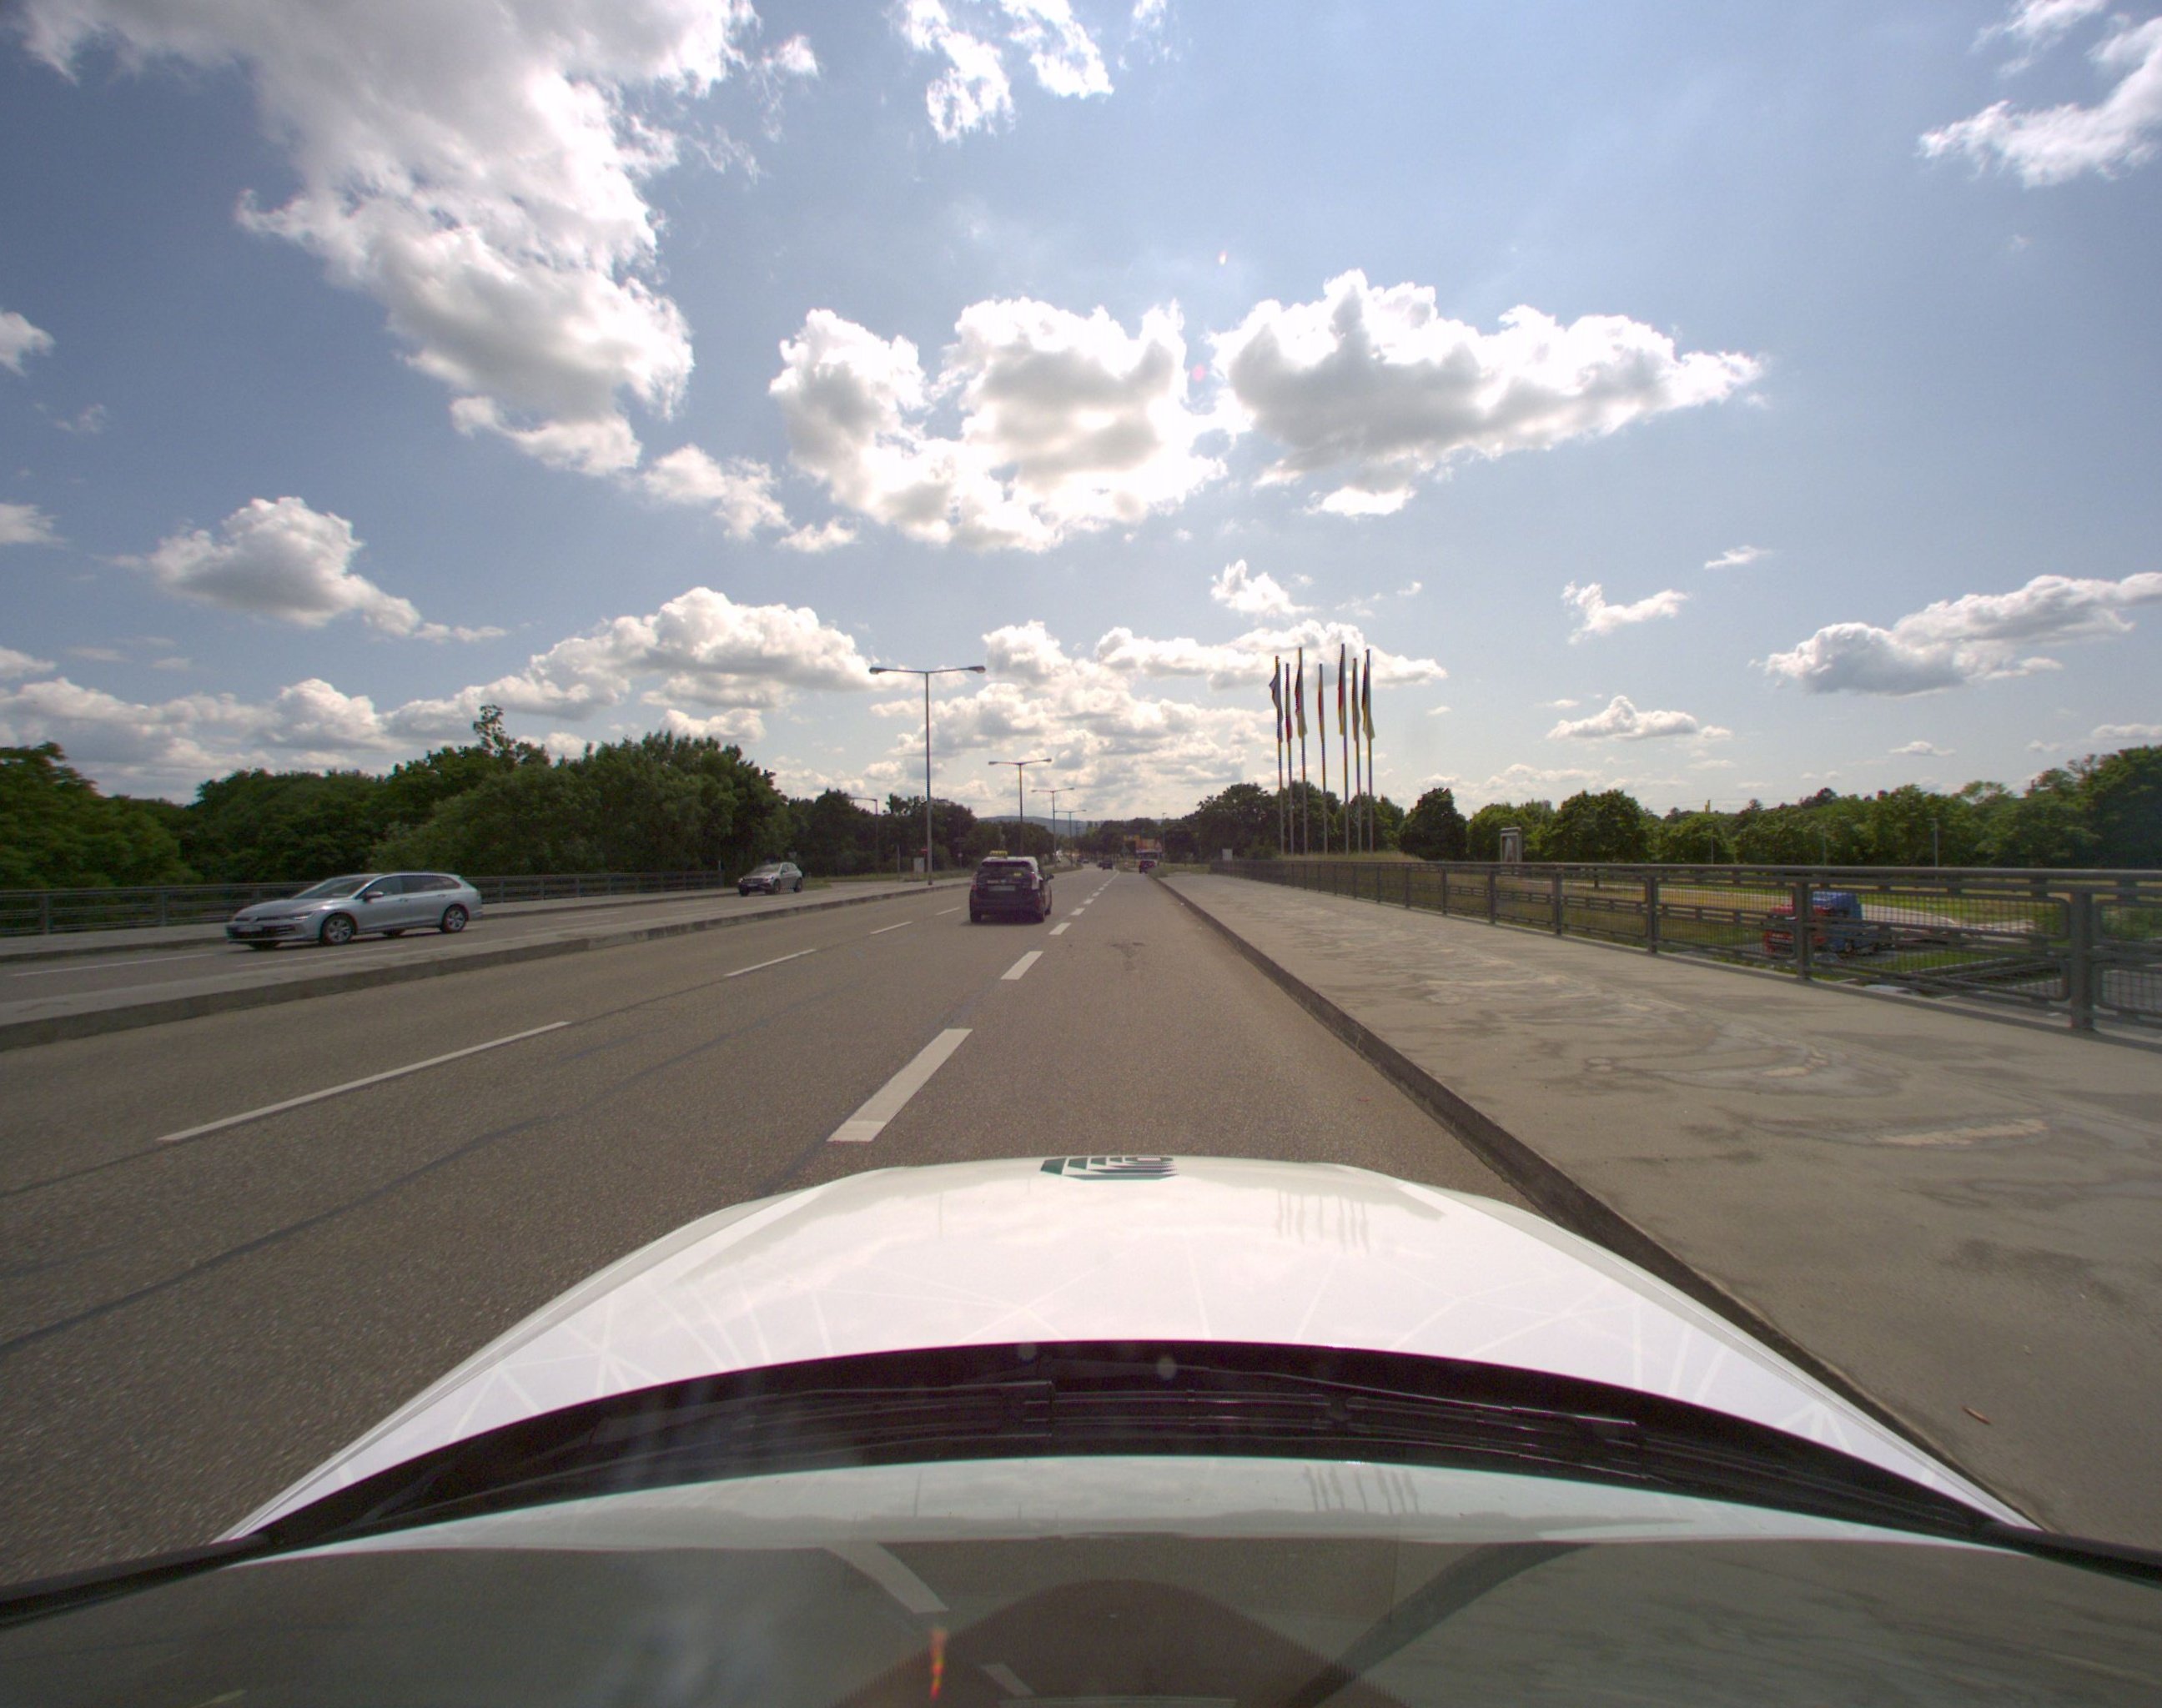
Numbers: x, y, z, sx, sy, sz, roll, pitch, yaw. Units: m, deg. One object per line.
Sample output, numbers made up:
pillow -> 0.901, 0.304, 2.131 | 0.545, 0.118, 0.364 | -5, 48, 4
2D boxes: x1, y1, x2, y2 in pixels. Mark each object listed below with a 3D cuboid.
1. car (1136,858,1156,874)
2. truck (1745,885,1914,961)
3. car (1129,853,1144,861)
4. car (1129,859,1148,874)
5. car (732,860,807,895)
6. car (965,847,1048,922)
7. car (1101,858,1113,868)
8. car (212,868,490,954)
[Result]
car -> 7.261, 1.369, 91.204 | 1.987, 1.662, 3.999 | 0, 1, -1
truck -> 49.117, 4.376, 53.459 | 9.626, 4.403, 3.993 | 0, 1, -18
car -> 12.404, 0.597, 181.919 | 2.000, 1.662, 3.974 | 0, 1, -19
car -> 6.780, 1.429, 96.087 | 1.987, 1.662, 3.999 | 0, 1, -1
car -> -16.093, 1.182, 42.338 | 2.081, 1.626, 4.551 | 0, 1, 1
car -> -1.758, 0.681, 20.425 | 1.774, 1.684, 3.998 | 0, 1, -1
car -> 4.552, 1.543, 141.602 | 1.987, 1.662, 3.999 | 0, 1, -1
car -> -15.561, 1.131, 17.778 | 1.656, 1.413, 4.556 | -3, 0, 5
